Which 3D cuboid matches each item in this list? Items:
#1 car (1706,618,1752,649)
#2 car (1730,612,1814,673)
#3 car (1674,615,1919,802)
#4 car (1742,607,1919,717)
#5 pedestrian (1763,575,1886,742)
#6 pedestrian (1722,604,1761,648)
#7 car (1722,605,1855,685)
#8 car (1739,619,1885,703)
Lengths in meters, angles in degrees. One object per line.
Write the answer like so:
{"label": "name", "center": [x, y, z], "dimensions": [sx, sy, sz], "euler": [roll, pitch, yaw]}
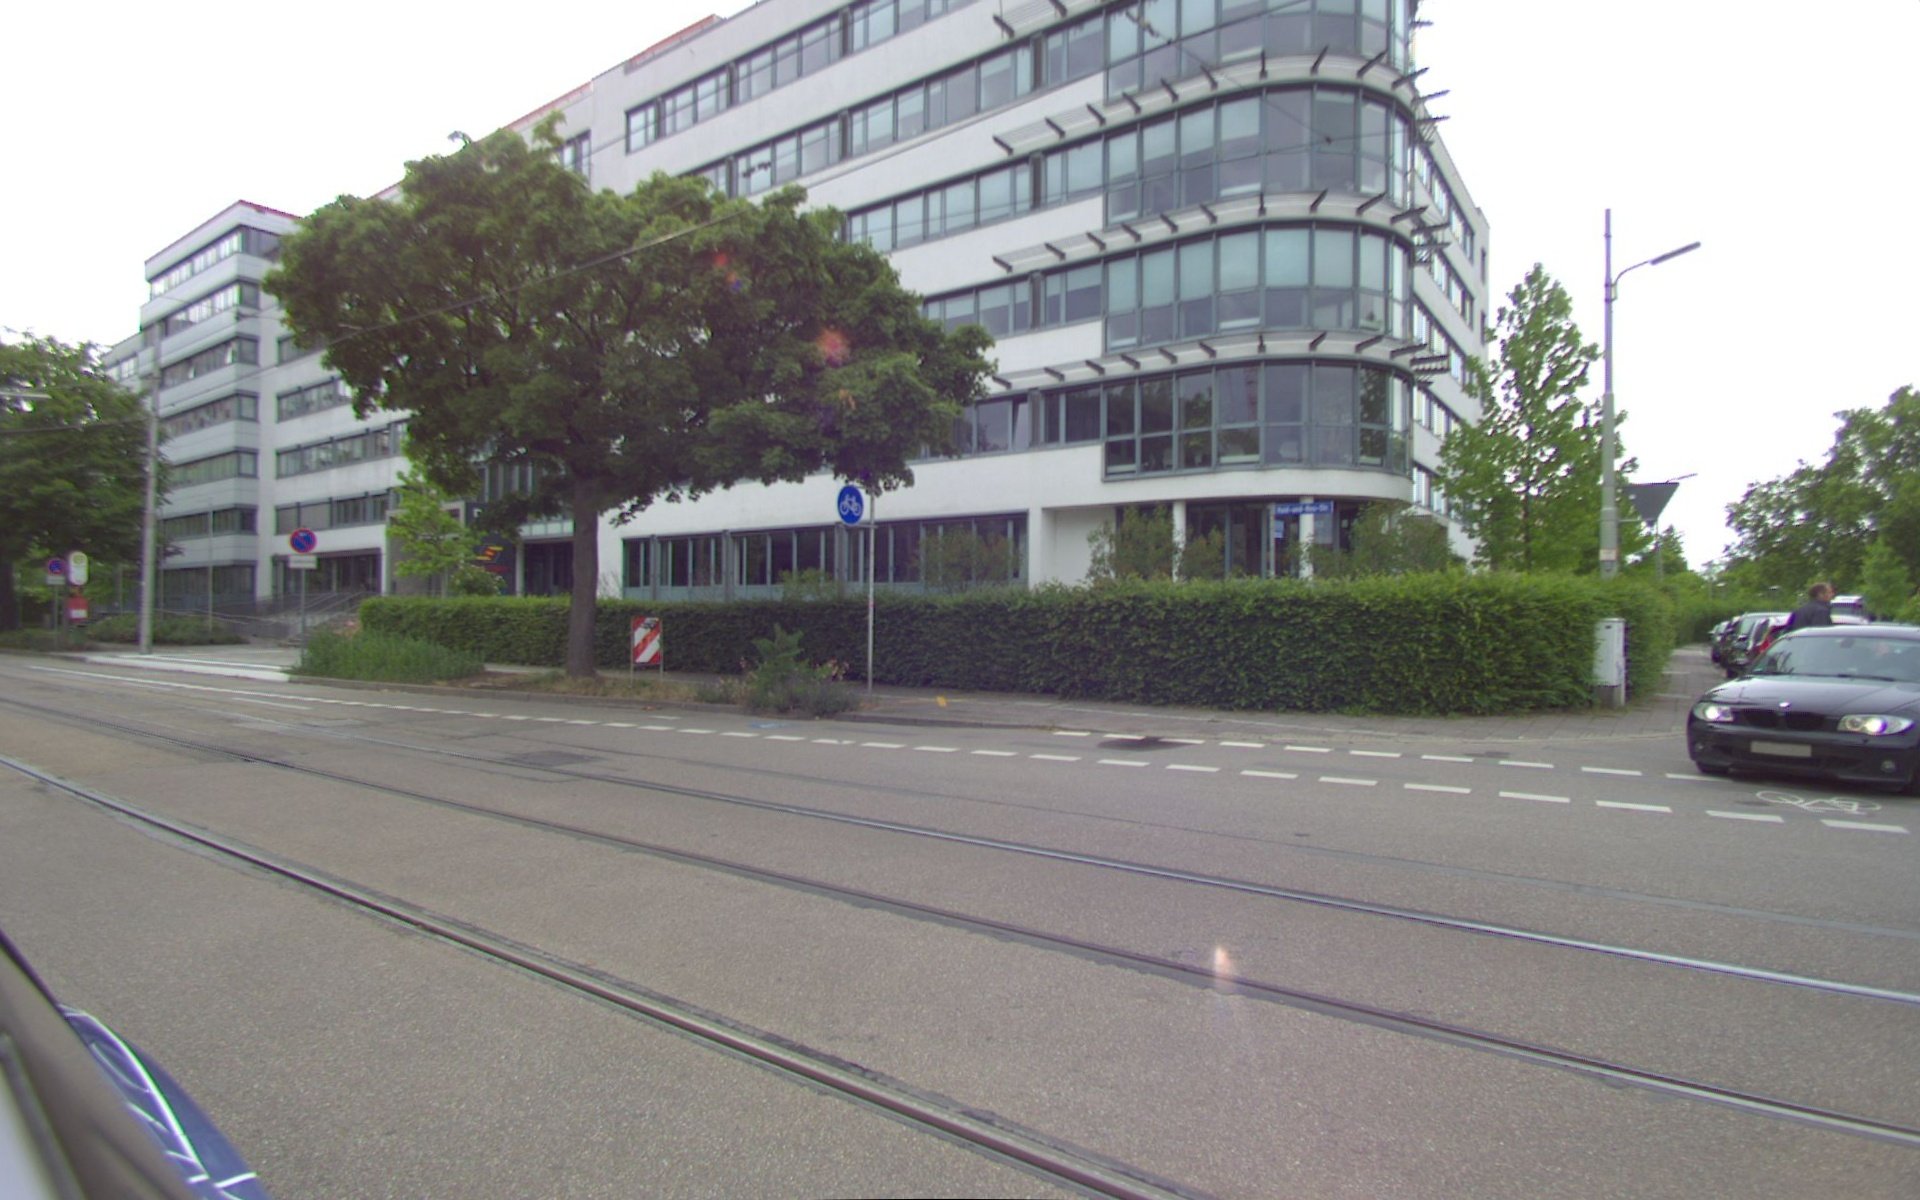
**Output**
{"label": "car", "center": [53.602, 2.298, 70.505], "dimensions": [3.940, 2.029, 2.002], "euler": [0, 0, -44]}
{"label": "car", "center": [24.911, 1.250, 31.154], "dimensions": [1.885, 1.694, 3.789], "euler": [0, 0, 37]}
{"label": "car", "center": [8.632, 0.862, 9.522], "dimensions": [4.044, 1.379, 1.793], "euler": [0, 0, -34]}
{"label": "car", "center": [13.067, 0.866, 15.392], "dimensions": [1.722, 1.433, 3.969], "euler": [-3, -2, 37]}
{"label": "pedestrian", "center": [10.052, 0.644, 11.793], "dimensions": [1.059, 1.839, 0.796], "euler": [0, 0, 41]}
{"label": "pedestrian", "center": [36.895, 1.239, 47.797], "dimensions": [1.181, 2.029, 1.206], "euler": [0, -2, 25]}
{"label": "car", "center": [19.043, 0.969, 23.440], "dimensions": [1.995, 1.663, 3.954], "euler": [0, -1, 34]}
{"label": "car", "center": [15.985, 1.063, 19.167], "dimensions": [1.775, 1.359, 4.000], "euler": [0, -1, 35]}
